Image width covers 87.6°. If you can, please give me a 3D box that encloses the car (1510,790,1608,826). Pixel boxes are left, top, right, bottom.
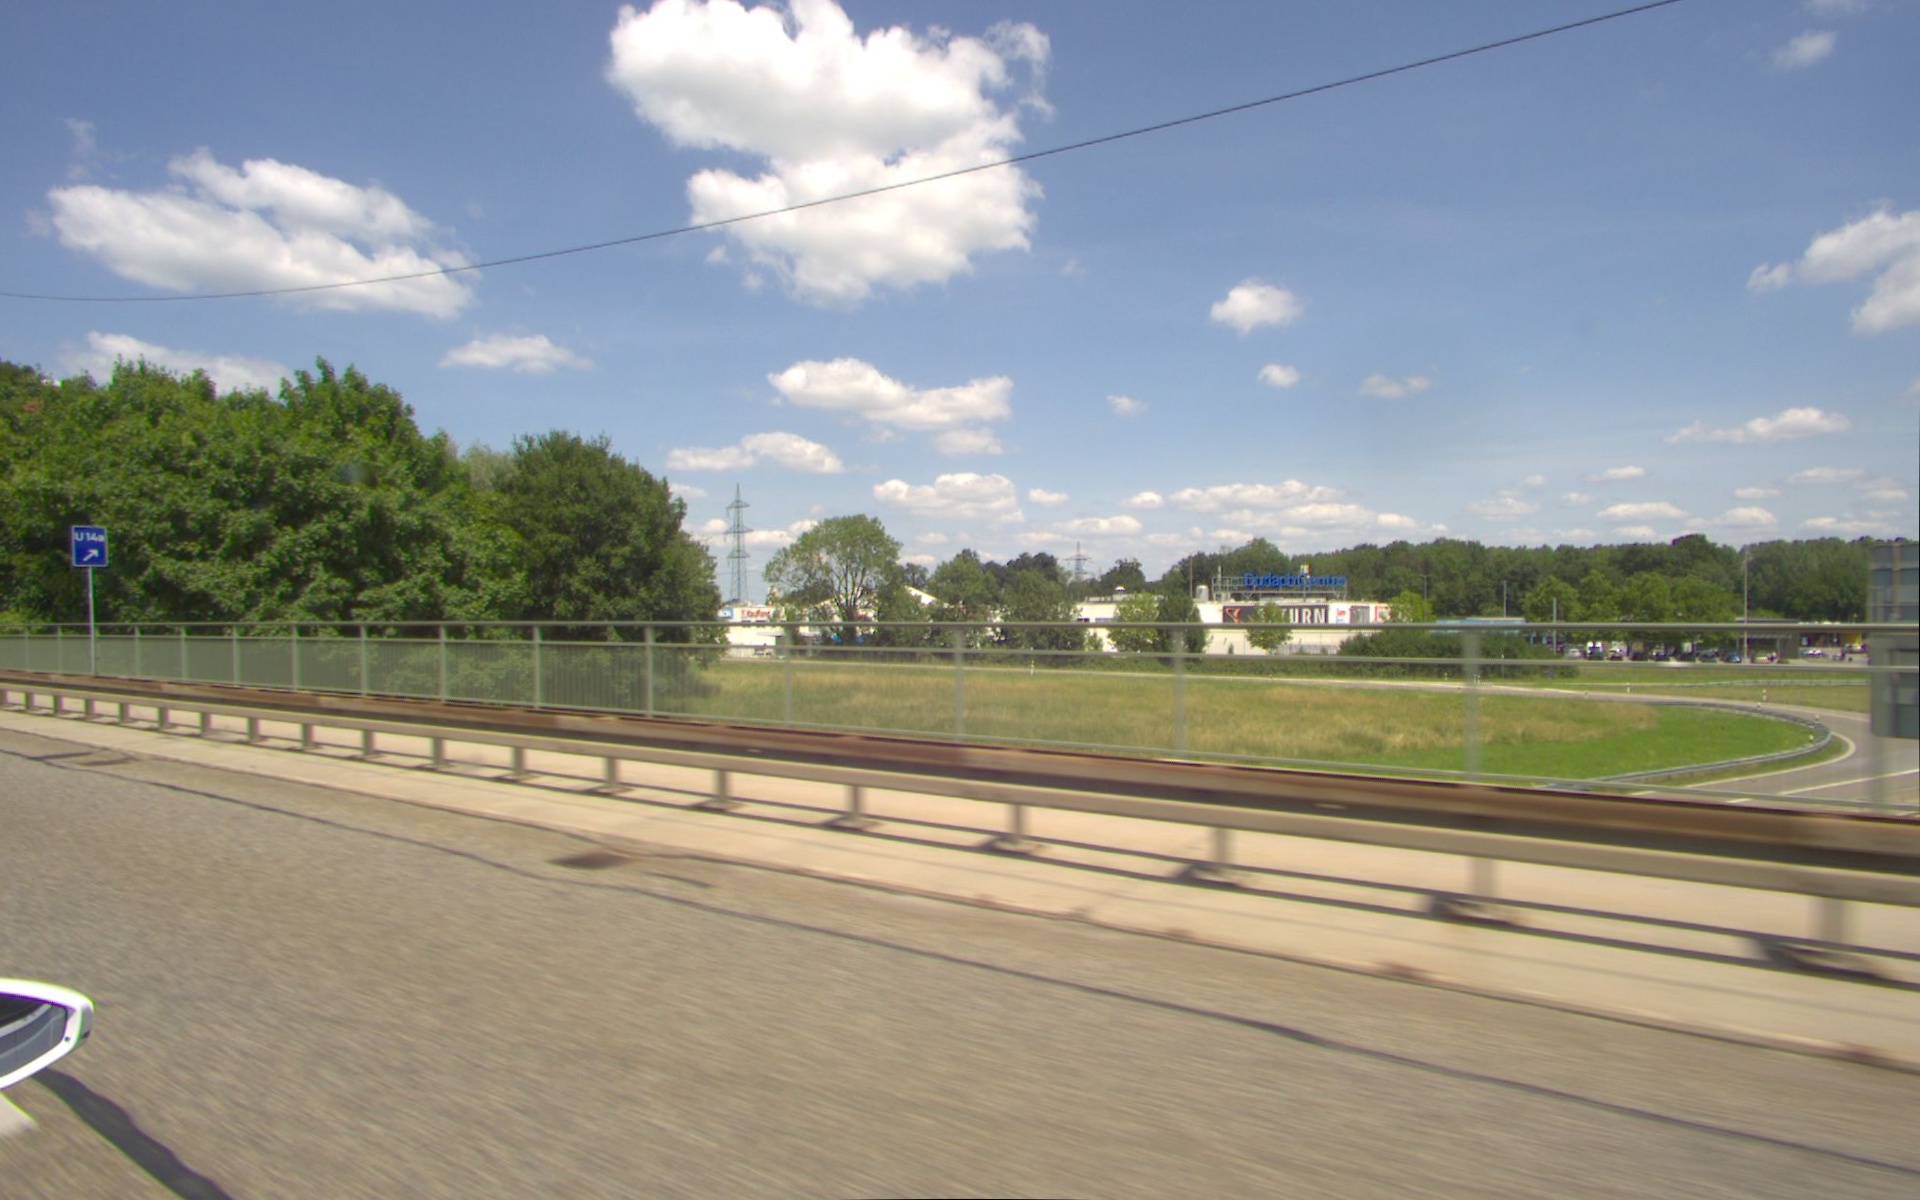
[{"bbox_3d":[24.068,8.311,40.202,3.860,1.185,1.661,6,-5,-28],"label":"car"}]
